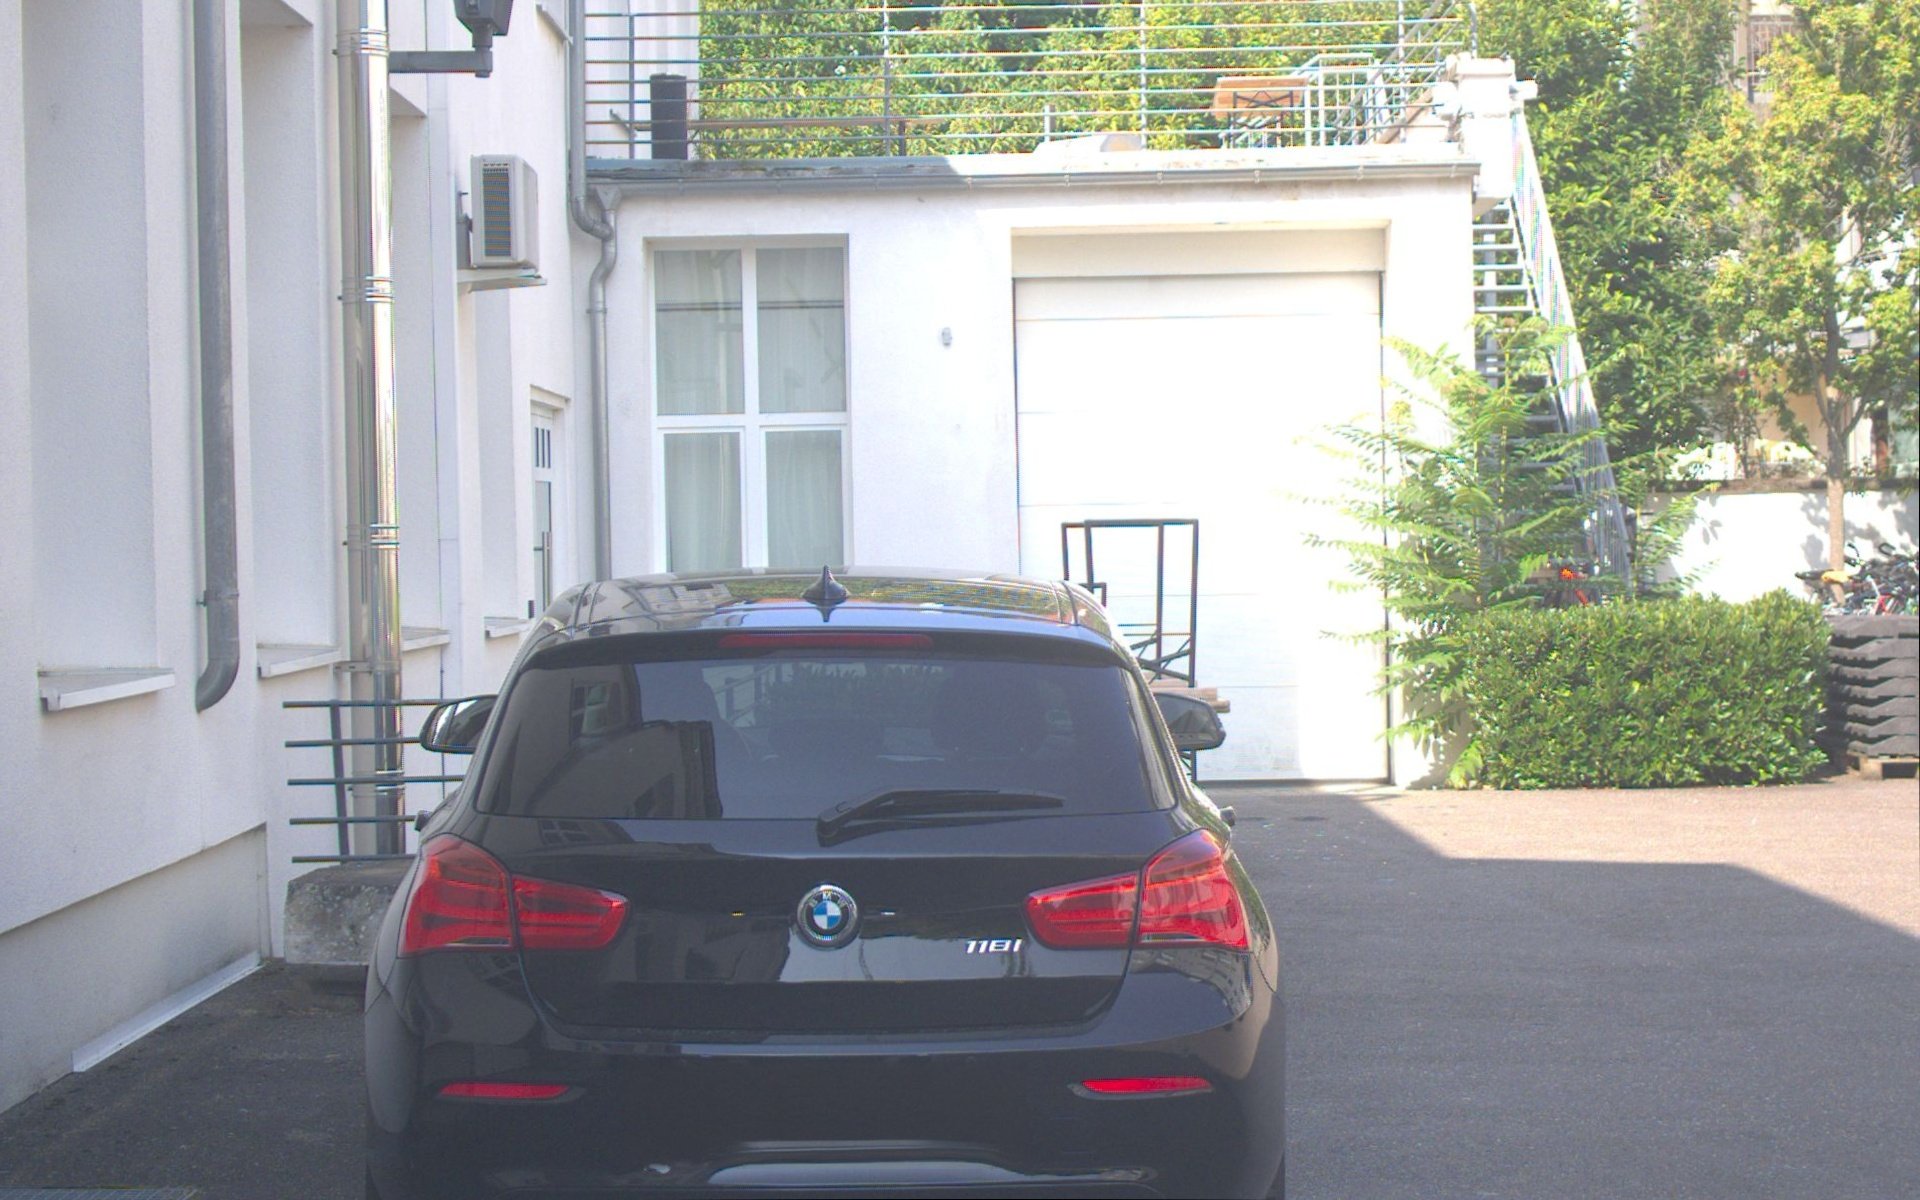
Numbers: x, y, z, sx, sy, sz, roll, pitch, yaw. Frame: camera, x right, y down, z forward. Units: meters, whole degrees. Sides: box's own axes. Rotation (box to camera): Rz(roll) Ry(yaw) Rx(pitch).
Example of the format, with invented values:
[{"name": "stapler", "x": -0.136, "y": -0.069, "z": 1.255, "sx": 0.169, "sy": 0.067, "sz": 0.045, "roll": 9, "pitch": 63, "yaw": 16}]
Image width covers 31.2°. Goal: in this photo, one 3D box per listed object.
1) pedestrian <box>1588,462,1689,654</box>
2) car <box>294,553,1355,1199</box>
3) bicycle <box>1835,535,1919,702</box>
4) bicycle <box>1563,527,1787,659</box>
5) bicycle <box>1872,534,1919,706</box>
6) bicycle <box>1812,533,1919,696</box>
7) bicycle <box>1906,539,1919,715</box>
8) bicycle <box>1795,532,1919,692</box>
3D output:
[{"name": "pedestrian", "x": 6.344, "y": -0.402, "z": 32.151, "sx": 0.609, "sy": 1.765, "sz": 0.861, "roll": 0, "pitch": 1, "yaw": -15}, {"name": "car", "x": -0.310, "y": 0.630, "z": 7.896, "sx": 1.792, "sy": 1.423, "sz": 4.137, "roll": 0, "pitch": 1, "yaw": -2}, {"name": "bicycle", "x": 7.866, "y": 0.130, "z": 25.882, "sx": 2.411, "sy": 1.242, "sz": 0.526, "roll": 0, "pitch": 1, "yaw": 1}, {"name": "bicycle", "x": 6.636, "y": -0.073, "z": 31.899, "sx": 1.987, "sy": 1.140, "sz": 0.490, "roll": -2, "pitch": 2, "yaw": -13}, {"name": "bicycle", "x": 7.940, "y": 0.135, "z": 25.115, "sx": 2.411, "sy": 1.242, "sz": 0.526, "roll": 0, "pitch": 1, "yaw": 1}, {"name": "bicycle", "x": 7.849, "y": 0.100, "z": 26.547, "sx": 2.411, "sy": 1.242, "sz": 0.526, "roll": 0, "pitch": 1, "yaw": 0}, {"name": "bicycle", "x": 7.994, "y": 0.187, "z": 24.388, "sx": 2.411, "sy": 1.242, "sz": 0.526, "roll": 0, "pitch": 1, "yaw": 1}, {"name": "bicycle", "x": 7.882, "y": 0.087, "z": 27.209, "sx": 2.411, "sy": 1.242, "sz": 0.526, "roll": 0, "pitch": 1, "yaw": 1}]
